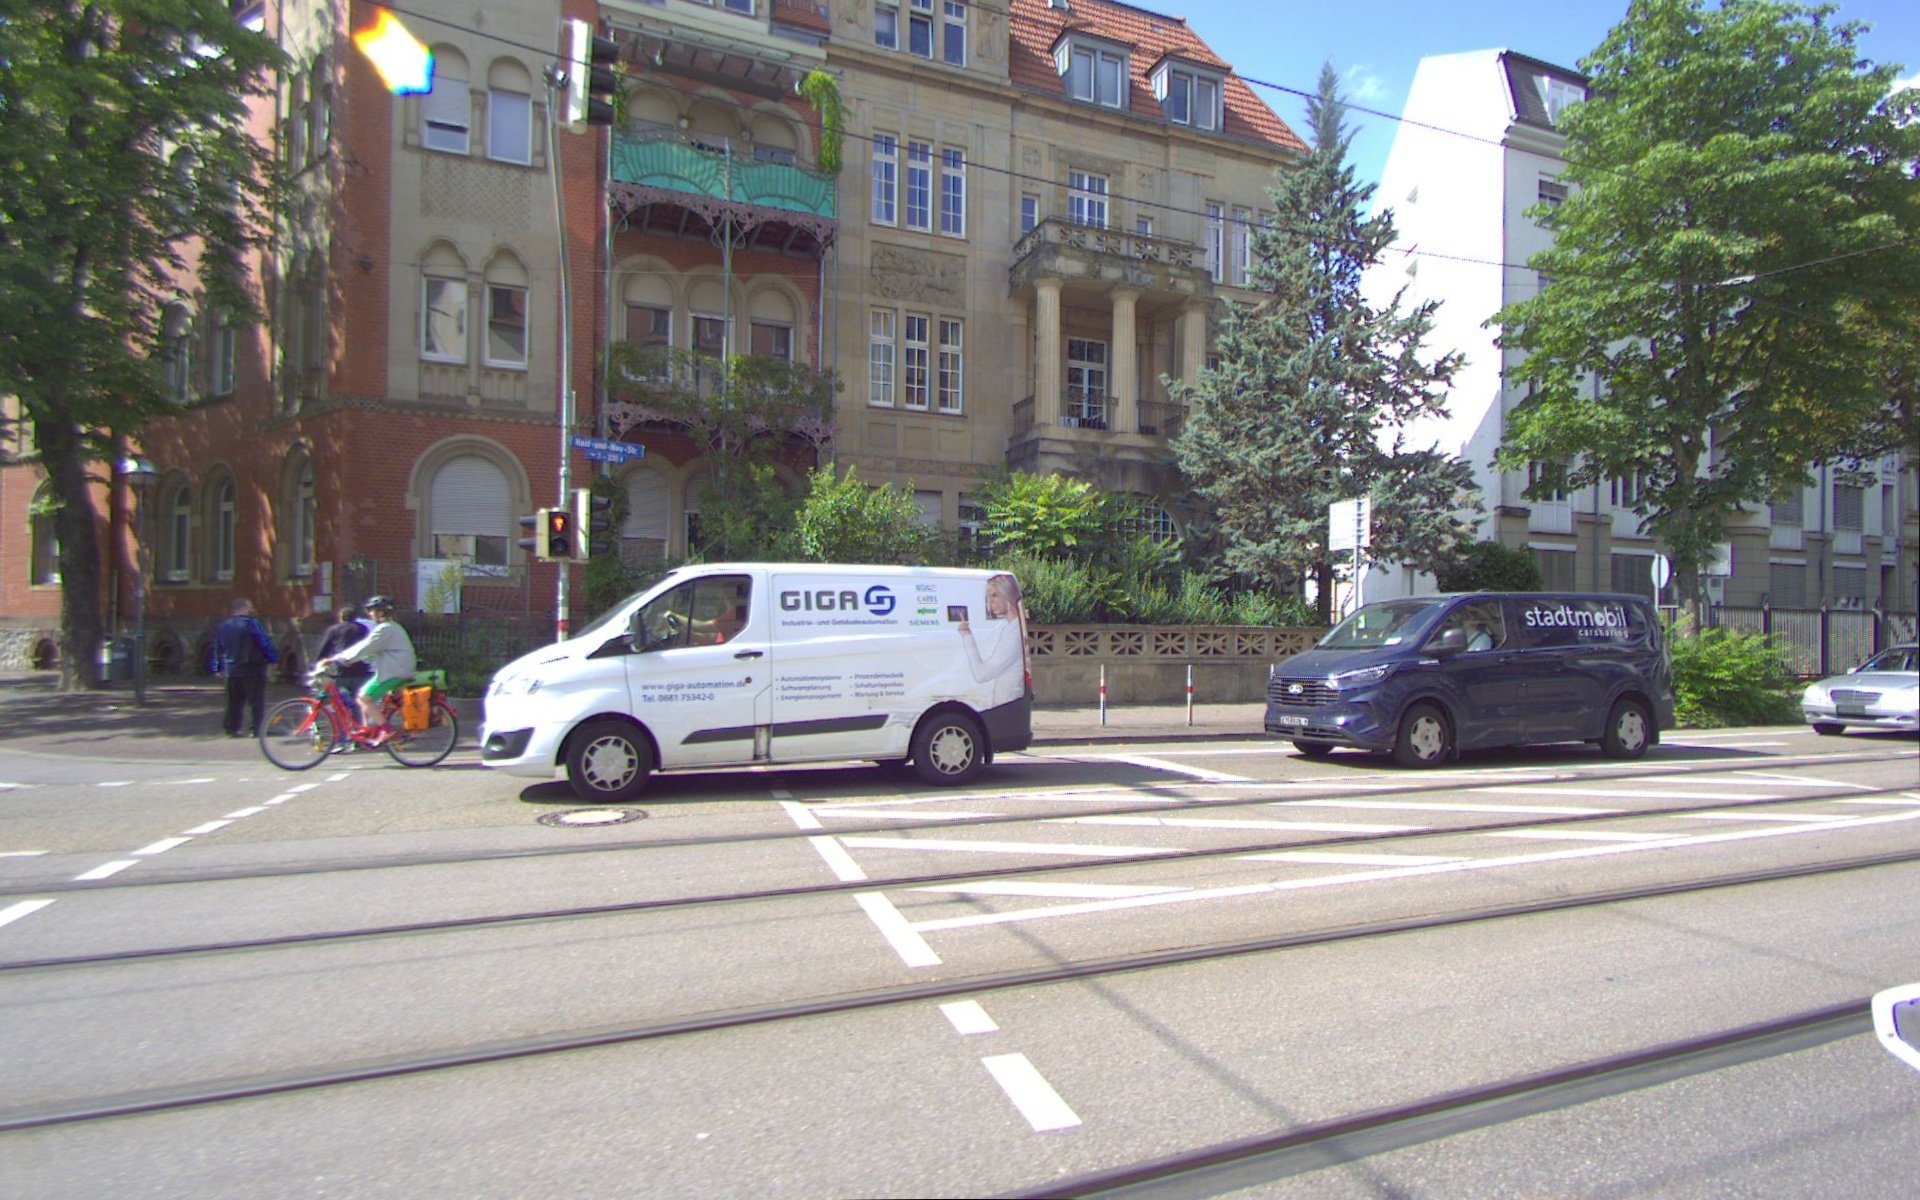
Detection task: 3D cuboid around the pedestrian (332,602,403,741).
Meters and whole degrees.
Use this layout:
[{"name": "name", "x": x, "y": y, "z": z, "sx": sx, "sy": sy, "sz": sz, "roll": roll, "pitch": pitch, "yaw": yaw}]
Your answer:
[{"name": "pedestrian", "x": -7.463, "y": 0.870, "z": 12.644, "sx": 0.719, "sy": 1.679, "sz": 0.606, "roll": 0, "pitch": 1, "yaw": -36}]

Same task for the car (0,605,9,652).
[{"name": "car", "x": -36.776, "y": 0.995, "z": 35.470, "sx": 4.235, "sy": 1.697, "sz": 1.999, "roll": 1, "pitch": -1, "yaw": -6}]

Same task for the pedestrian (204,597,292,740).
[{"name": "pedestrian", "x": -8.951, "y": 0.840, "z": 12.659, "sx": 0.840, "sy": 1.721, "sz": 0.618, "roll": 2, "pitch": 0, "yaw": -34}]

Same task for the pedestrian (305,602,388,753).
[{"name": "pedestrian", "x": -7.106, "y": 0.874, "z": 11.635, "sx": 0.745, "sy": 1.679, "sz": 0.516, "roll": 2, "pitch": 0, "yaw": -36}]

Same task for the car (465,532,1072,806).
[{"name": "car", "x": -1.643, "y": 0.650, "z": 9.286, "sx": 5.014, "sy": 2.020, "sz": 1.991, "roll": 2, "pitch": -4, "yaw": -21}]

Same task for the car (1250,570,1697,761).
[{"name": "car", "x": 6.161, "y": 0.790, "z": 12.050, "sx": 5.048, "sy": 1.942, "sz": 1.924, "roll": 2, "pitch": -4, "yaw": -22}]

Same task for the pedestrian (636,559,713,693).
[{"name": "pedestrian", "x": -3.695, "y": 0.334, "z": 13.031, "sx": 0.801, "sy": 1.679, "sz": 0.521, "roll": 2, "pitch": 0, "yaw": -2}]

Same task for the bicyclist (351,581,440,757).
[{"name": "bicyclist", "x": -5.764, "y": 0.679, "z": 10.293, "sx": 0.663, "sy": 1.718, "sz": 0.835, "roll": 2, "pitch": 0, "yaw": -24}]

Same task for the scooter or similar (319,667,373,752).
[{"name": "scooter or similar", "x": -7.336, "y": 1.294, "z": 11.998, "sx": 0.495, "sy": 0.934, "sz": 0.544, "roll": 2, "pitch": 0, "yaw": -36}]

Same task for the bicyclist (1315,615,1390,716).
[{"name": "bicyclist", "x": 6.806, "y": 1.119, "z": 17.438, "sx": 0.692, "sy": 1.666, "sz": 0.948, "roll": 2, "pitch": 0, "yaw": -23}]

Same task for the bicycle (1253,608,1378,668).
[{"name": "bicycle", "x": 6.164, "y": 0.645, "z": 17.417, "sx": 1.834, "sy": 0.945, "sz": 0.996, "roll": 1, "pitch": 2, "yaw": -24}]

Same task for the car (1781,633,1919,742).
[{"name": "car", "x": 14.981, "y": 1.260, "z": 15.292, "sx": 4.410, "sy": 1.499, "sz": 1.692, "roll": 0, "pitch": -3, "yaw": -18}]

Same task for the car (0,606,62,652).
[{"name": "car", "x": -37.088, "y": 1.058, "z": 38.006, "sx": 4.235, "sy": 1.697, "sz": 1.999, "roll": 1, "pitch": -1, "yaw": -6}]

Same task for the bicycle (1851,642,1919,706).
[{"name": "bicycle", "x": 20.681, "y": 1.615, "z": 21.701, "sx": 2.019, "sy": 1.326, "sz": 0.620, "roll": 2, "pitch": 0, "yaw": 27}]
